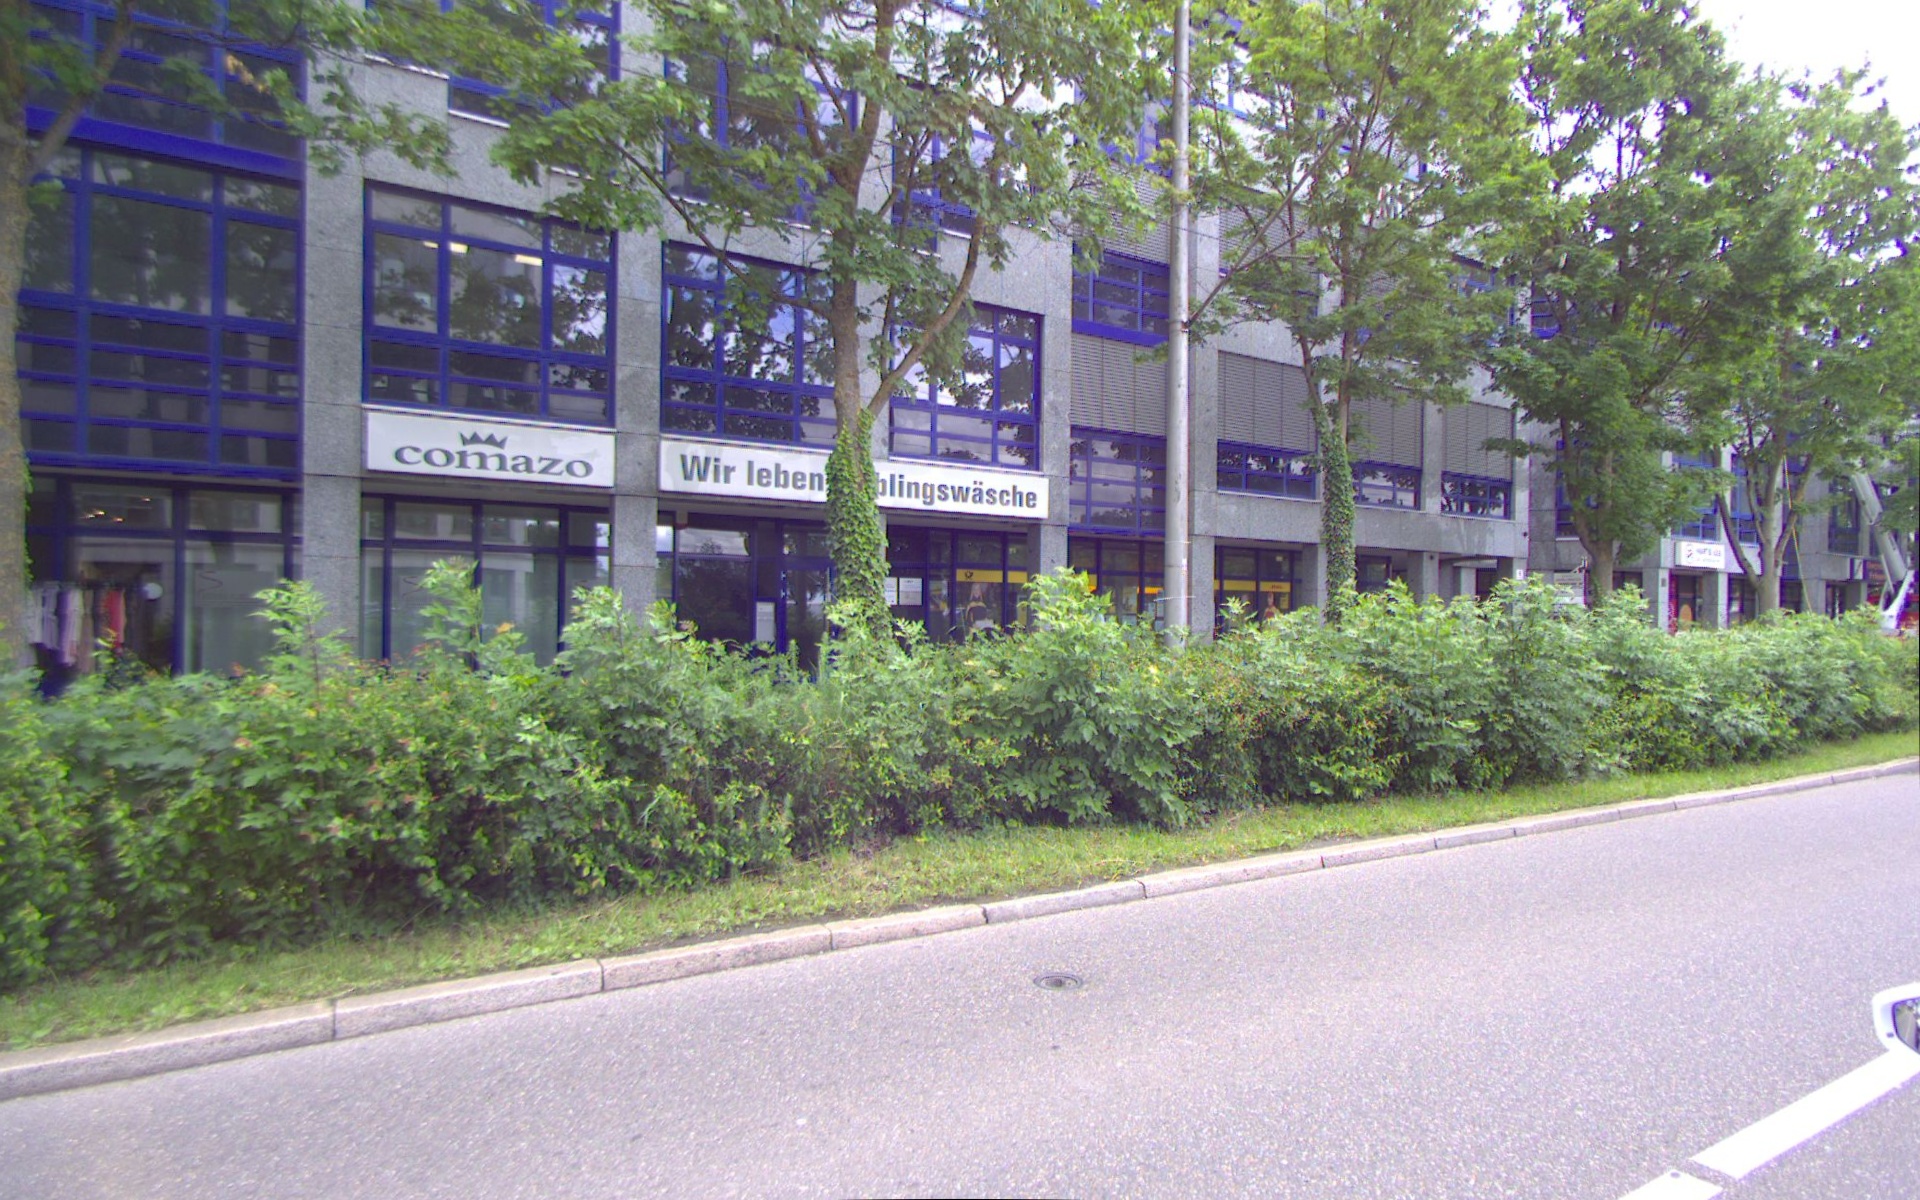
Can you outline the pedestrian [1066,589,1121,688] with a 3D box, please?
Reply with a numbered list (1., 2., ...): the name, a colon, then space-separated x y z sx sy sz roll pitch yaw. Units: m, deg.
1. pedestrian: 2.659 0.759 20.080 0.723 1.919 0.771 2 0 -30
